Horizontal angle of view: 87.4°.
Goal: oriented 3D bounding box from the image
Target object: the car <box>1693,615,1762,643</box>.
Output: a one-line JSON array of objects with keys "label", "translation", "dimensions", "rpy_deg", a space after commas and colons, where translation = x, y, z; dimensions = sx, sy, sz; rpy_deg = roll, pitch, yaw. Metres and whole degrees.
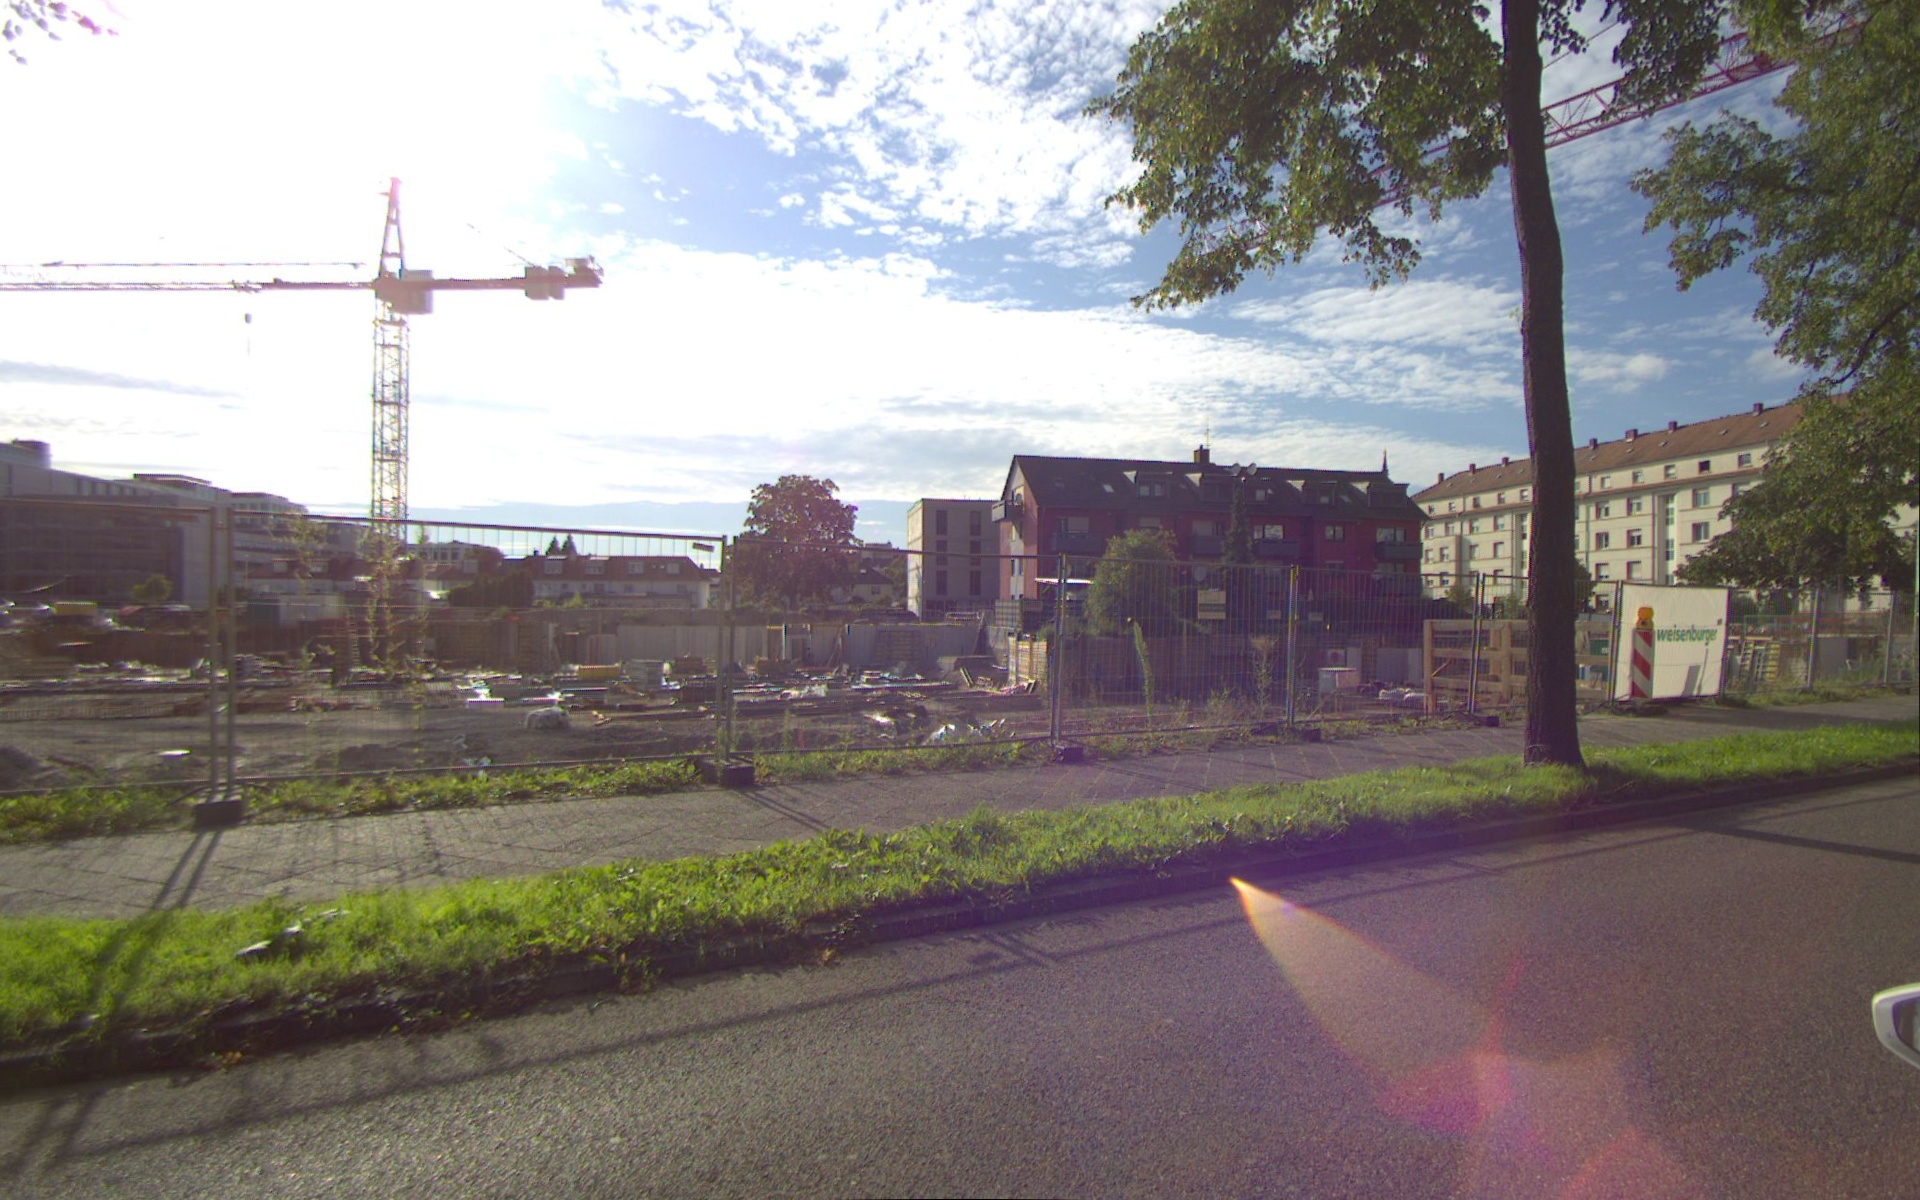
[{"label": "car", "translation": [56.035, 2.123, 73.378], "dimensions": [3.932, 2.040, 1.994], "rpy_deg": [0, -1, -15]}]
